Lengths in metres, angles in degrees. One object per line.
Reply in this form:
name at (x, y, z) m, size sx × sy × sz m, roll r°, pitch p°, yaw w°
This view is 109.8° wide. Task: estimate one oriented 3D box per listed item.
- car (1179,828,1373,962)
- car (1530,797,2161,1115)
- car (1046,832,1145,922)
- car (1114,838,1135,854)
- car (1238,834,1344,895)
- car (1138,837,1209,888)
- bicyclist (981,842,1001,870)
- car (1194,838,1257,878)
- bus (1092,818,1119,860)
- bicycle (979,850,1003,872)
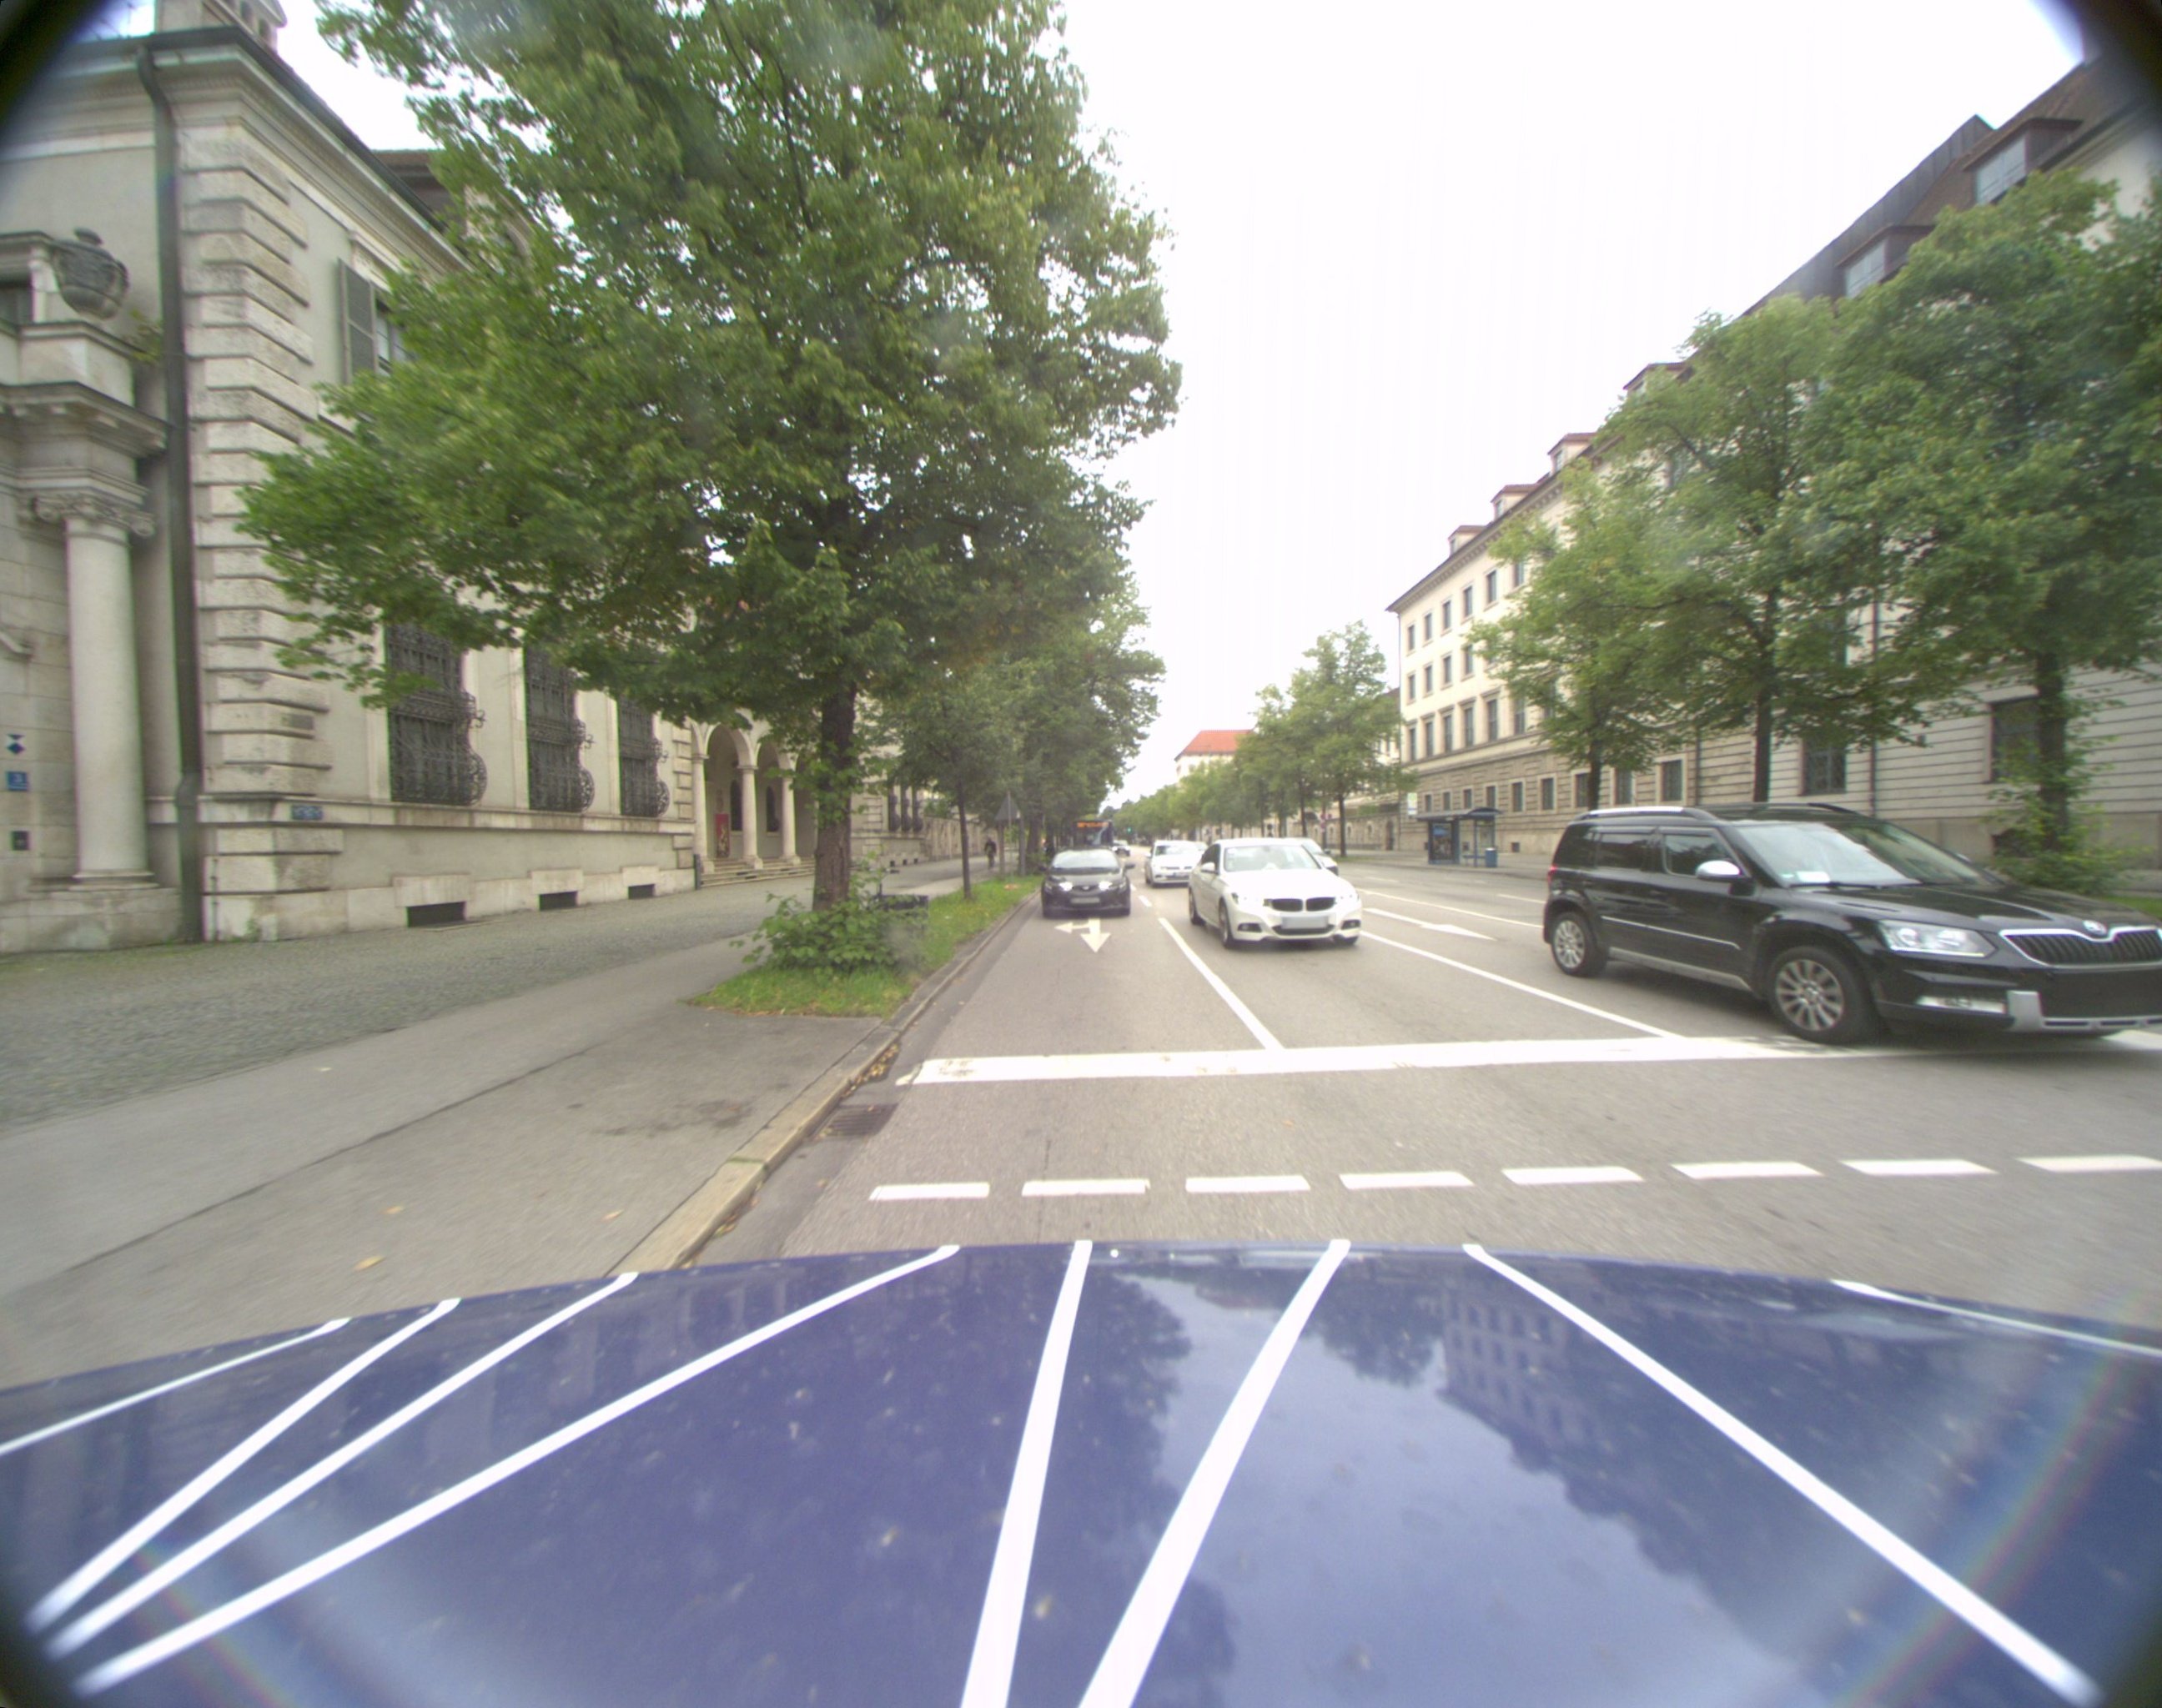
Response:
car at (2.755, 0.430, 11.977) m, size 1.797 × 1.627 × 5.024 m, roll -1°, pitch 2°, yaw 0°
car at (5.636, 0.452, 6.008) m, size 1.727 × 1.627 × 4.203 m, roll -1°, pitch 2°, yaw 0°
car at (0.292, 0.374, 16.348) m, size 1.797 × 1.627 × 4.273 m, roll -1°, pitch 2°, yaw 0°
car at (4.319, -0.817, 75.972) m, size 1.797 × 1.439 × 4.273 m, roll -1°, pitch 2°, yaw 0°
car at (5.720, 0.209, 21.196) m, size 1.797 × 1.439 × 4.273 m, roll -1°, pitch 2°, yaw 0°
car at (2.943, 0.221, 24.909) m, size 1.797 × 1.439 × 4.273 m, roll -1°, pitch 2°, yaw 0°
bicyclist at (-4.448, 0.105, 37.679) m, size 0.808 × 1.306 × 0.893 m, roll -3°, pitch 2°, yaw 1°
car at (5.847, 0.102, 31.231) m, size 1.797 × 1.439 × 4.273 m, roll -1°, pitch 2°, yaw 0°
bus at (1.577, -0.993, 50.602) m, size 1.638 × 2.570 × 6.700 m, roll -1°, pitch 1°, yaw 1°
bicycle at (-4.428, 0.323, 37.594) m, size 0.830 × 1.001 × 2.057 m, roll -3°, pitch 2°, yaw 1°
